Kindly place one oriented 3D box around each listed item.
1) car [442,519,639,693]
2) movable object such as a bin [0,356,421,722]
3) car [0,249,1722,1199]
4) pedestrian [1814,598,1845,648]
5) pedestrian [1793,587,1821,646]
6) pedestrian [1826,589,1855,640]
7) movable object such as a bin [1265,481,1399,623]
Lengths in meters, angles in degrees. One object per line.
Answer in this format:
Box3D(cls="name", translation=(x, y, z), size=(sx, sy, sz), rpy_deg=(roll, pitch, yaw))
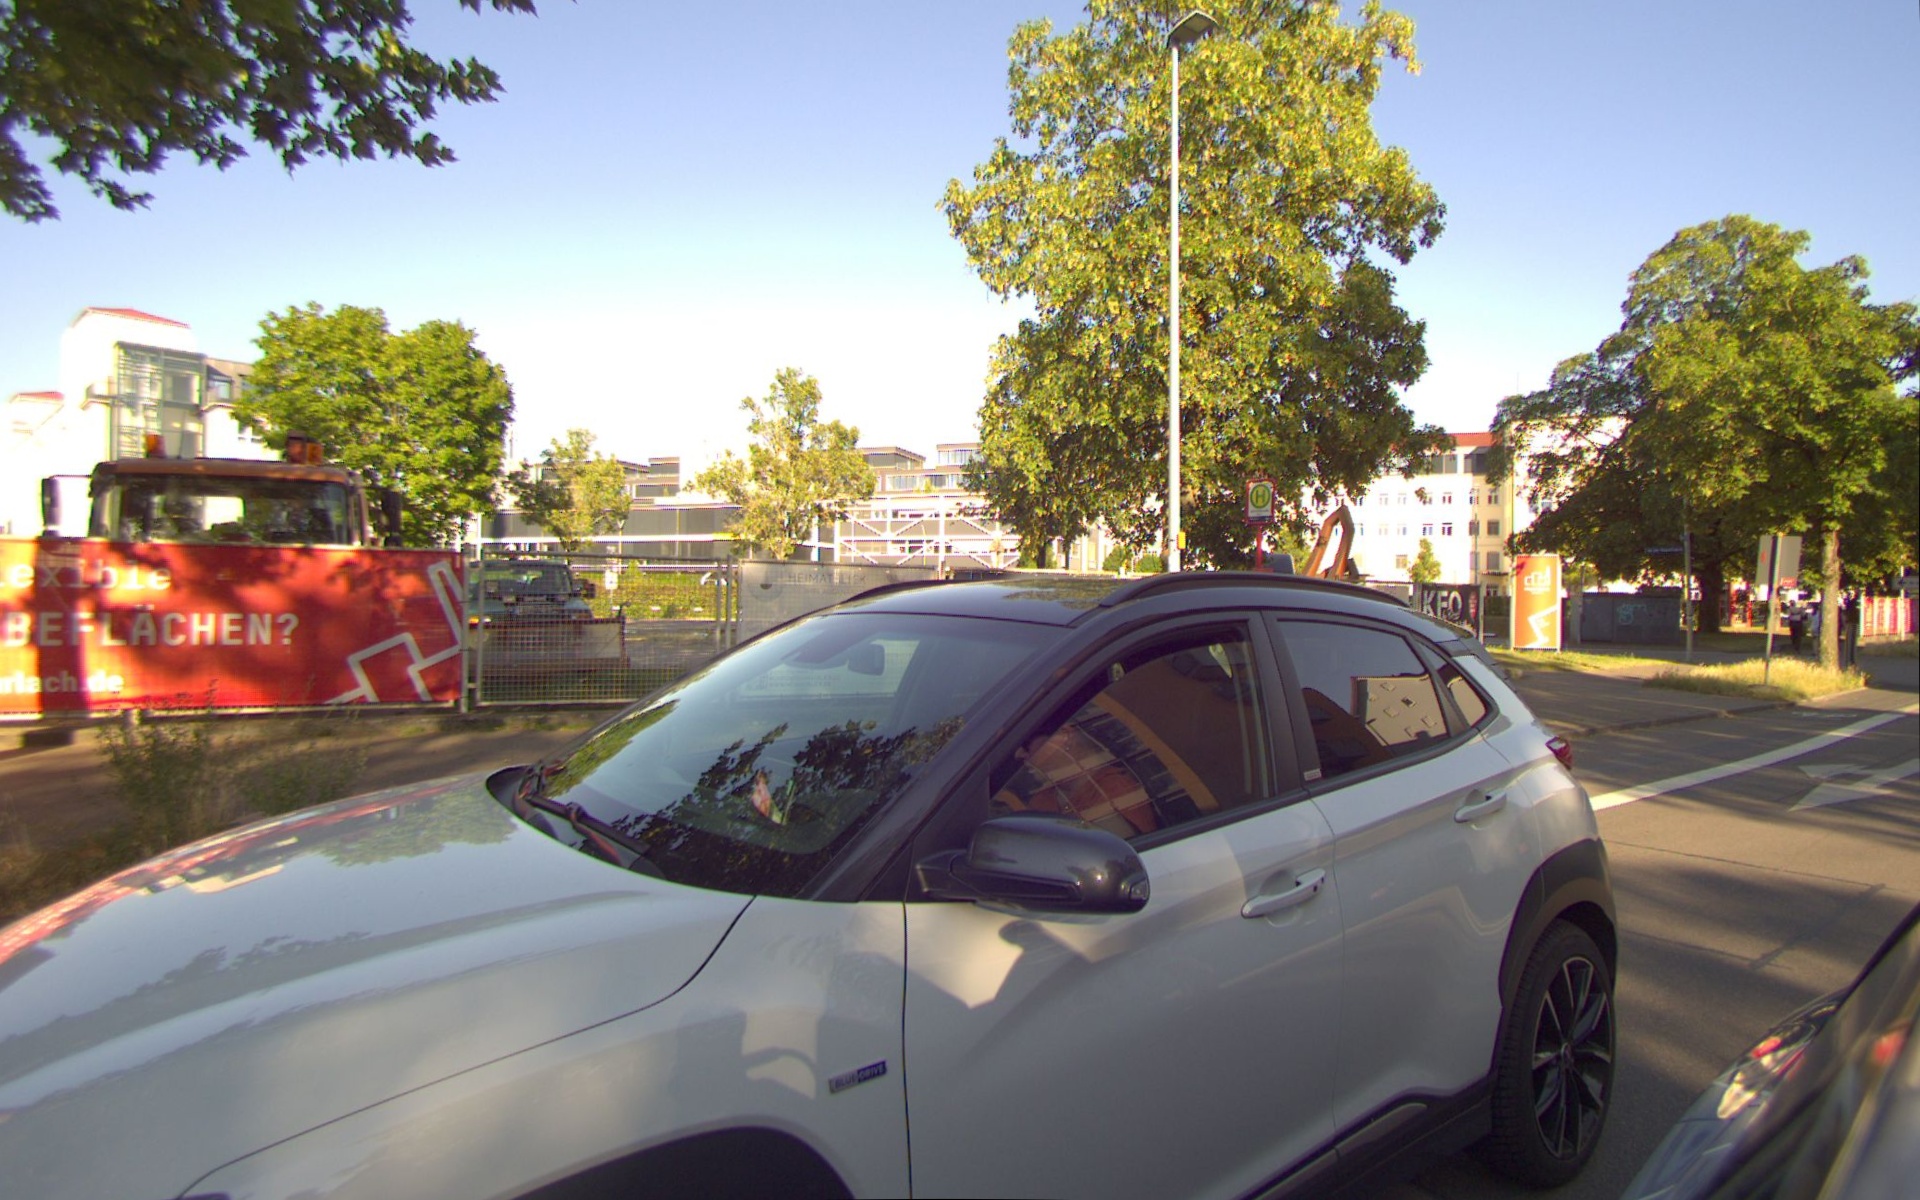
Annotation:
Box3D(cls="car", translation=(-5.665, 0.042, 13.298), size=(2.001, 1.851, 4.612), rpy_deg=(0, 0, -28))
Box3D(cls="movable object such as a bin", translation=(-8.389, -0.550, 12.059), size=(3.154, 3.087, 6.295), rpy_deg=(0, 0, -31))
Box3D(cls="car", translation=(0.062, 0.645, 2.378), size=(3.893, 1.618, 1.894), rpy_deg=(3, -2, -39))
Box3D(cls="pedestrian", translation=(25.743, 0.663, 29.953), size=(0.627, 1.452, 0.609), rpy_deg=(0, 0, -40))
Box3D(cls="pedestrian", translation=(25.733, 0.499, 30.741), size=(0.607, 1.759, 0.629), rpy_deg=(0, 0, 44))
Box3D(cls="pedestrian", translation=(29.680, 0.471, 34.109), size=(0.692, 1.689, 0.630), rpy_deg=(0, 0, 37))
Box3D(cls="movable object such as a bin", translation=(15.523, -1.886, 42.767), size=(3.910, 5.547, 6.022), rpy_deg=(0, 0, 6))
